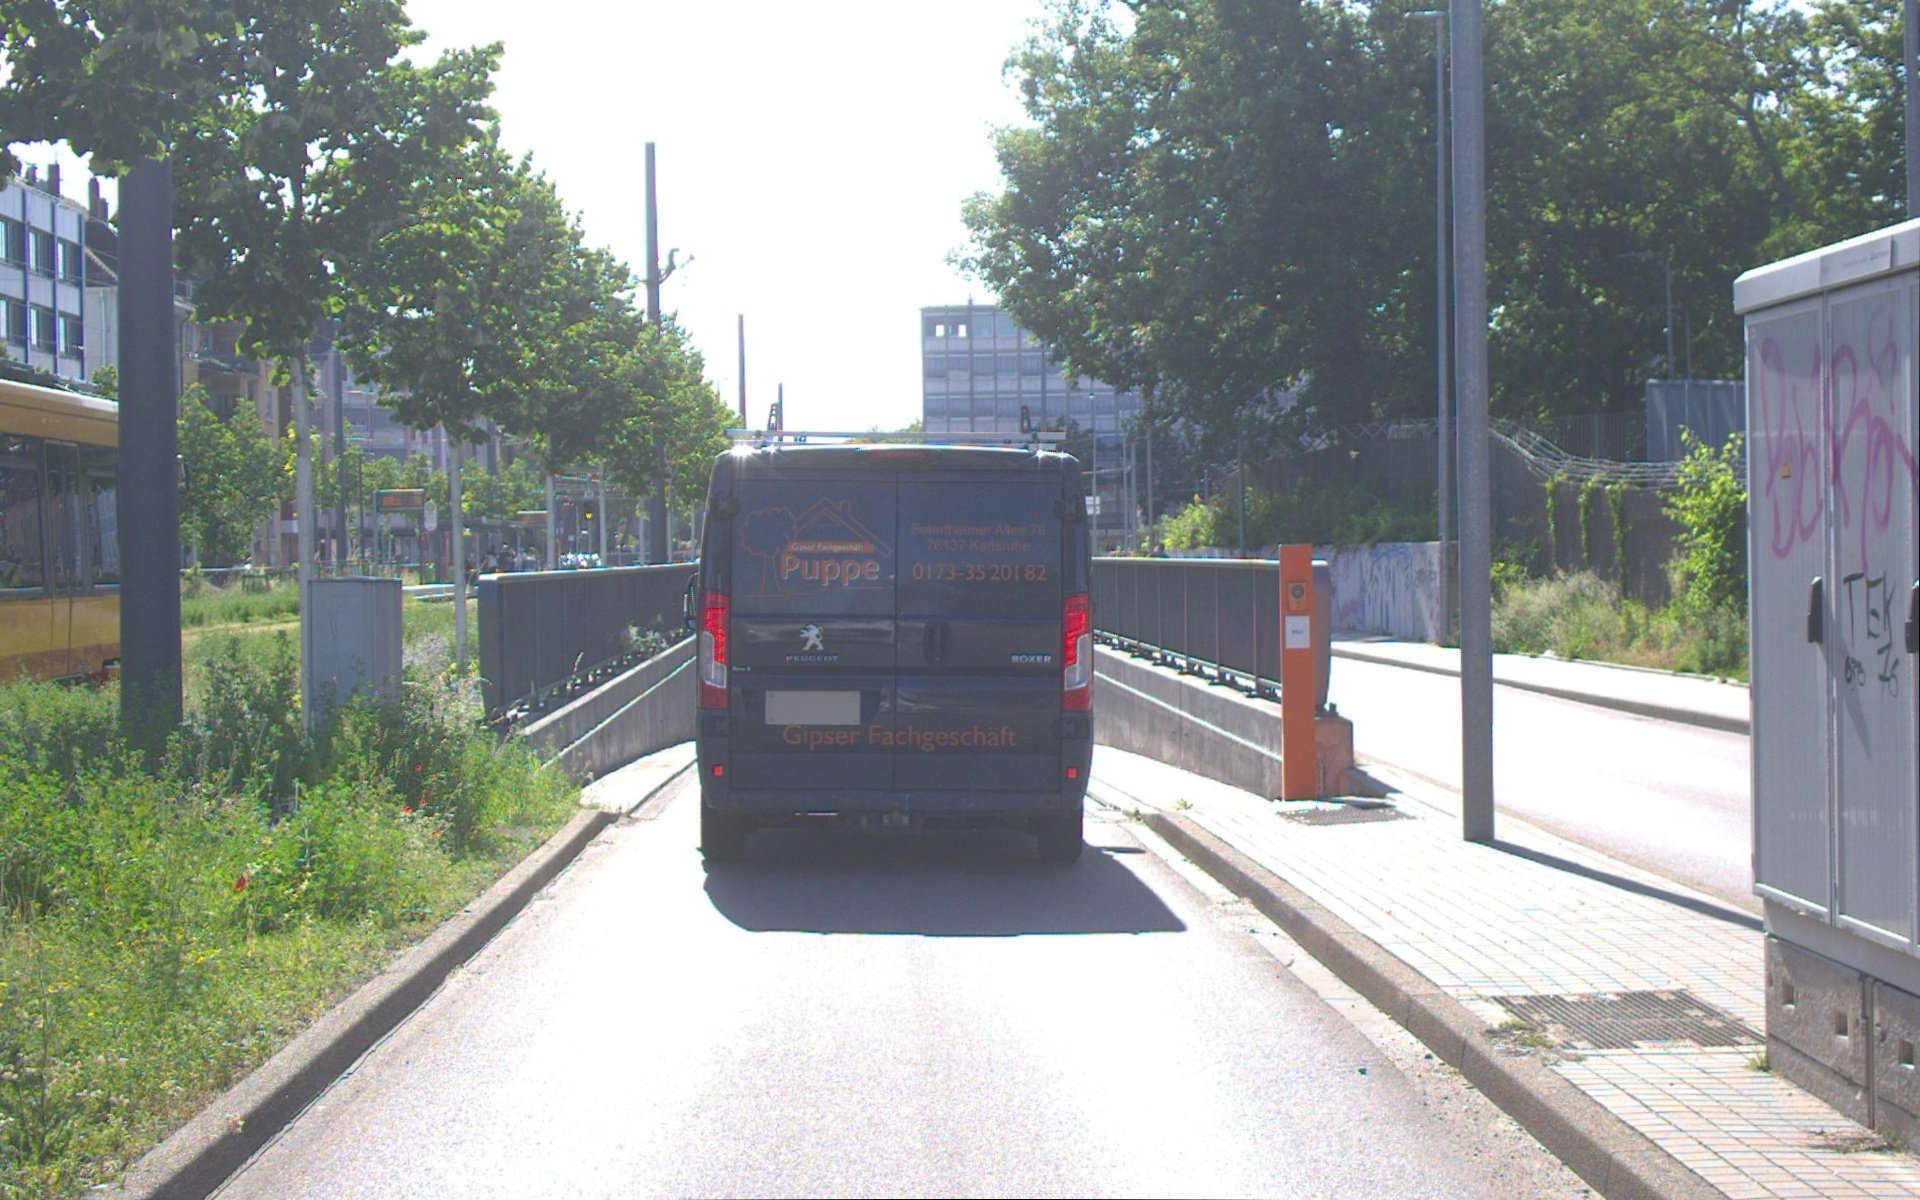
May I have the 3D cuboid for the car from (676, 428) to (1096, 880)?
[{"bbox_3d":[-0.420,0.245,19.101,2.082,2.241,4.000,0,1,-2],"label":"car"}]

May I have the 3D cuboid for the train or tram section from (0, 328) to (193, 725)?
[{"bbox_3d":[-9.873,-0.712,34.319,1.993,3.656,11.684,0,1,-1],"label":"train or tram section"}]
